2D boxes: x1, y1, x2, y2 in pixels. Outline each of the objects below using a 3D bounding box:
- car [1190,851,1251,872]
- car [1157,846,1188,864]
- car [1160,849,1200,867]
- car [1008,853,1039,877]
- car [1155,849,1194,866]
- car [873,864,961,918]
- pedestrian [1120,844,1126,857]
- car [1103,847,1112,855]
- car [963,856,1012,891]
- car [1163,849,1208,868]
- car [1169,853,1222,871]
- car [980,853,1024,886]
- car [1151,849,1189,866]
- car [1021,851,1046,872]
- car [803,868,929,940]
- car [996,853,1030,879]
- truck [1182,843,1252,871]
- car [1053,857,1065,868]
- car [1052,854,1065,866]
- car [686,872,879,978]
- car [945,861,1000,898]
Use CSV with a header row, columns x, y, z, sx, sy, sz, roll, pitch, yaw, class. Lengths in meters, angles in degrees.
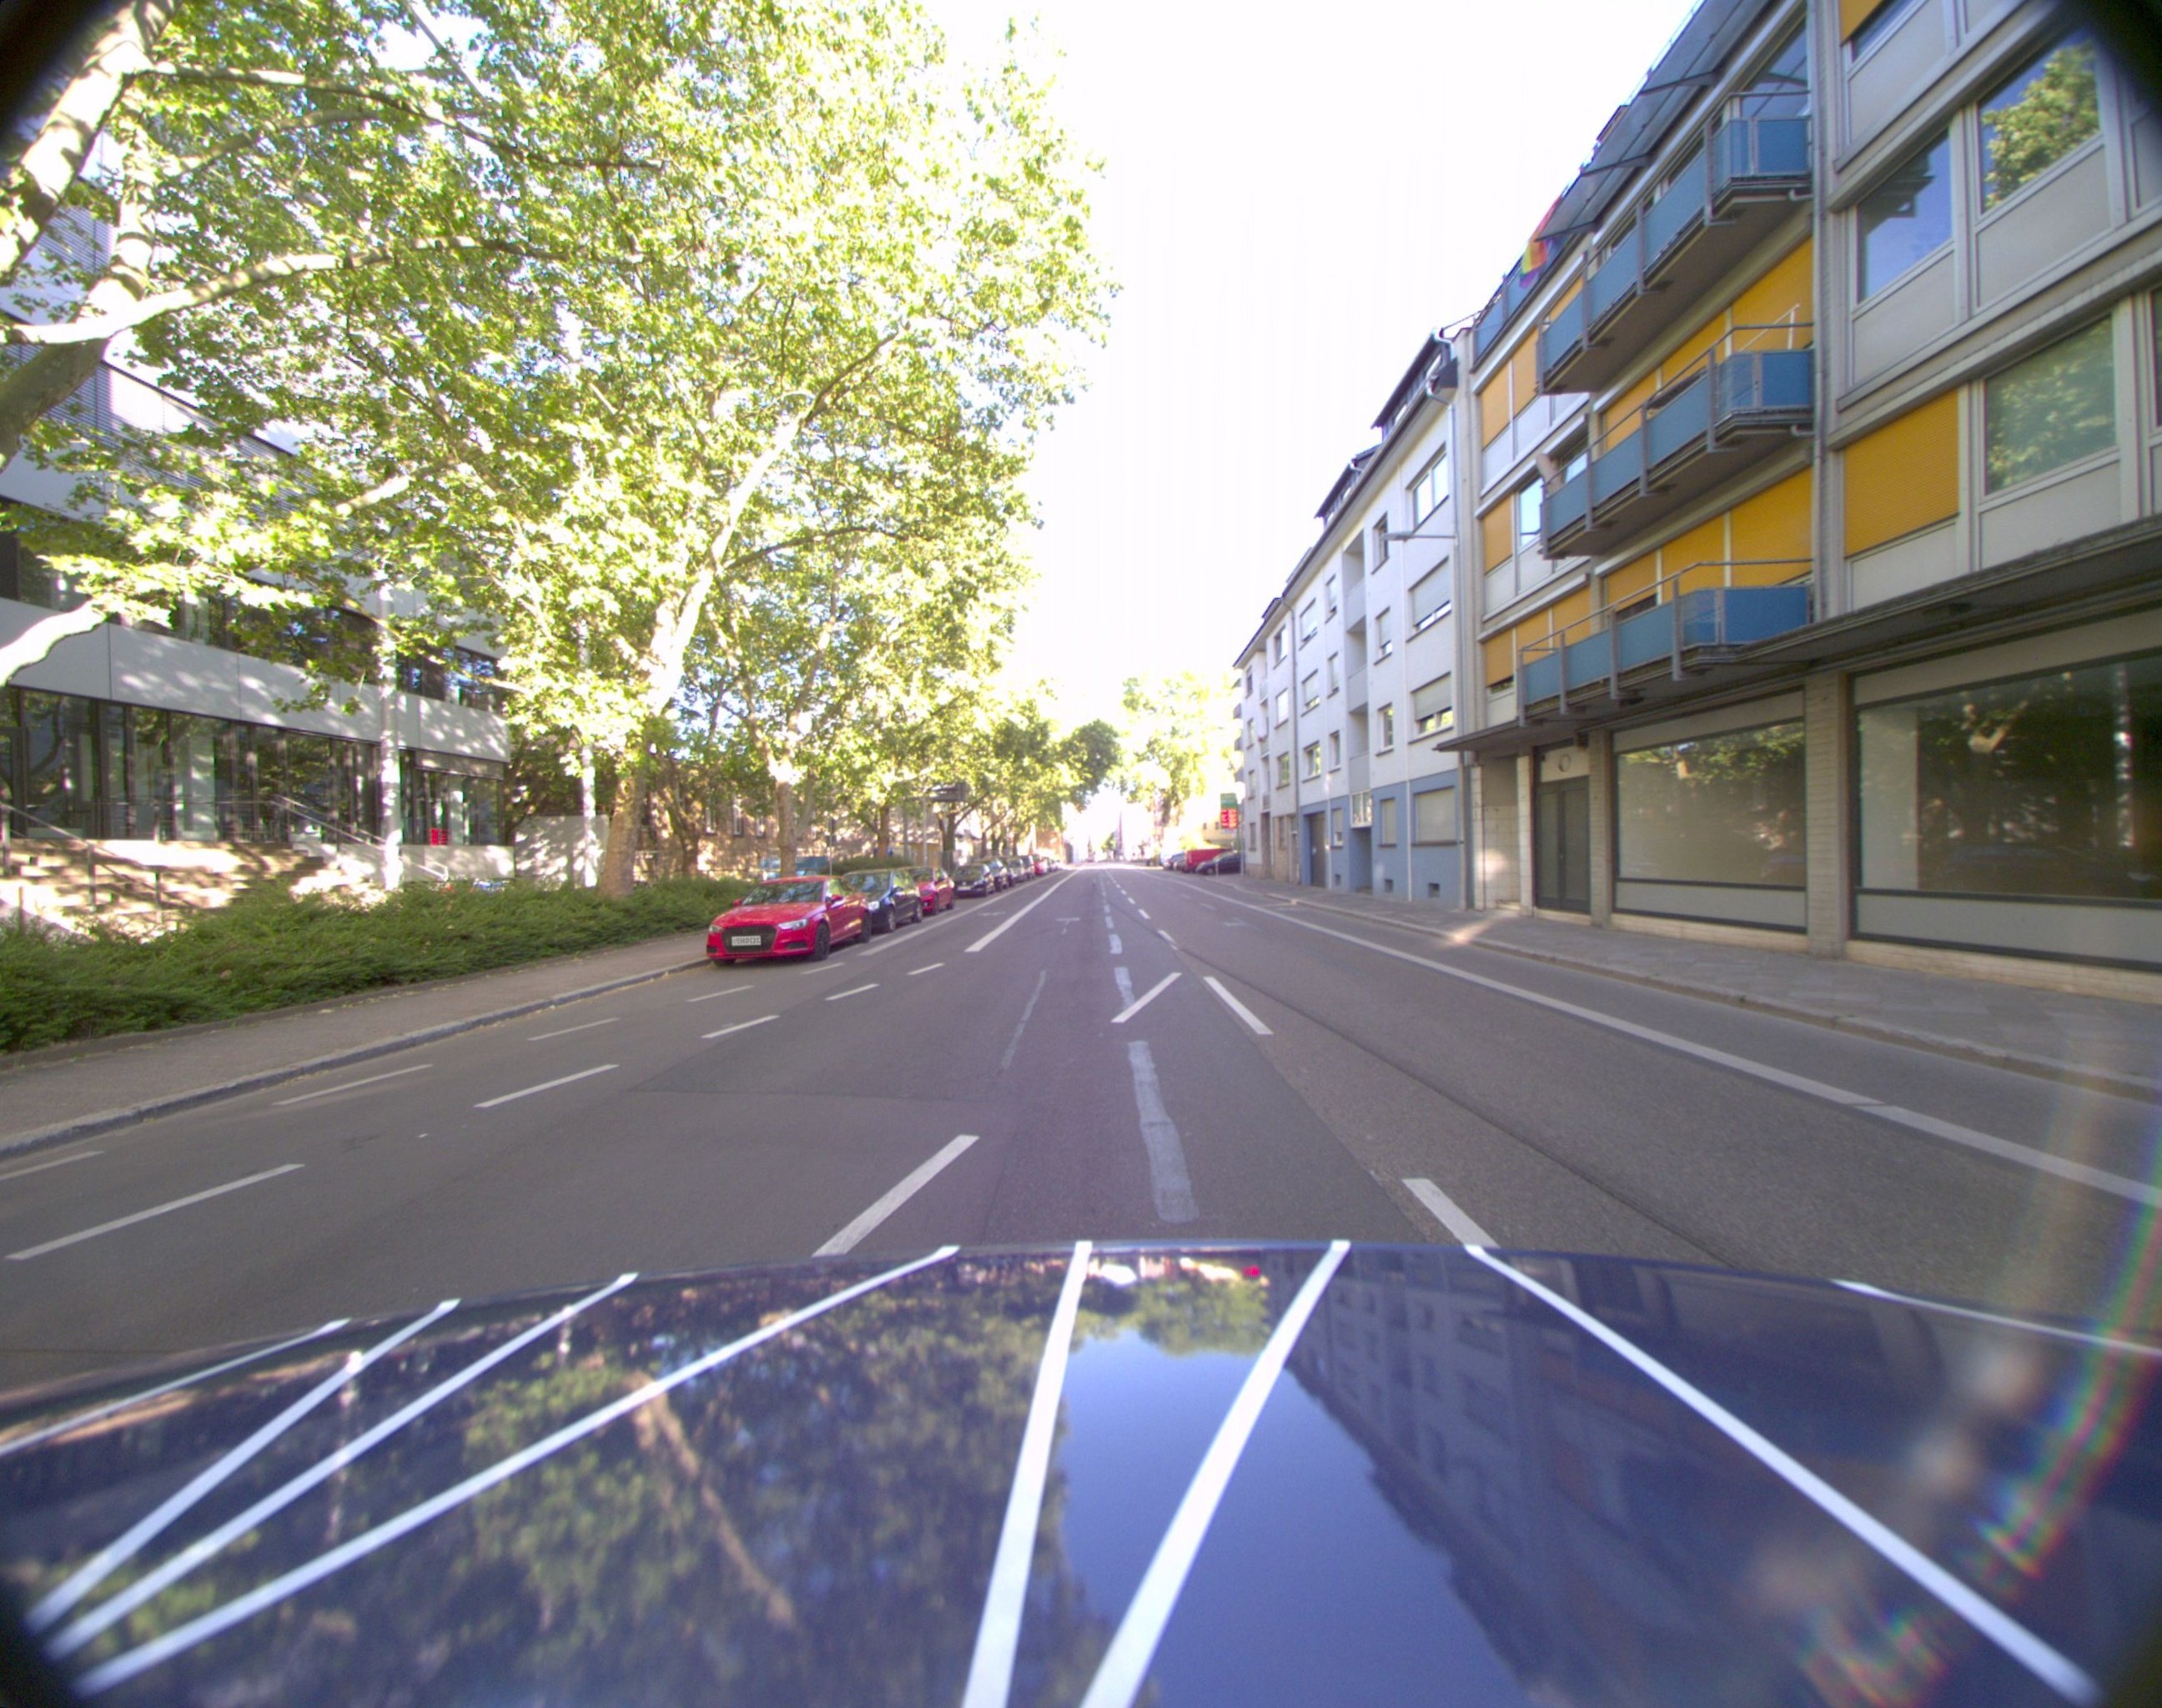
x,y,z,sx,sy,sz,roll,pitch,yaw,class
10.066,0.529,54.918,3.997,1.385,1.781,-2,1,-1,car
10.231,0.108,85.266,3.267,1.927,1.693,-2,1,2,car
9.880,0.382,75.910,3.658,1.578,1.659,-2,1,-5,car
-4.169,0.750,55.510,1.831,1.608,4.177,-1,0,1,car
9.616,0.378,78.568,3.703,1.573,1.718,-2,1,-5,car
-5.019,1.093,23.758,1.790,1.429,4.000,-1,0,1,car
10.794,-0.953,194.857,1.358,3.172,1.897,-2,1,1,pedestrian
6.767,-0.796,193.461,1.998,2.002,3.999,-2,1,1,car
-4.623,0.920,38.209,1.848,1.572,4.232,-2,0,1,car
10.084,0.431,73.363,3.998,1.618,1.702,-2,1,-5,car
9.424,0.671,62.816,4.033,1.265,1.906,-2,1,-1,car
-4.545,0.868,44.192,1.998,1.715,4.262,-2,1,1,car
9.486,0.374,80.860,3.728,1.579,1.743,-2,1,-5,car
-4.107,0.615,66.180,1.876,1.685,4.166,-1,0,1,car
-5.085,1.133,18.551,1.813,1.449,4.000,-1,0,2,car
-4.441,0.739,50.453,1.798,1.608,4.075,-1,0,1,car
10.727,0.239,60.096,5.088,2.009,2.000,-2,1,0,truck
-2.627,1.028,92.349,1.300,1.220,3.241,-1,0,0,car
-3.008,0.817,102.862,1.707,1.459,3.809,-1,0,0,car
-5.104,1.139,13.684,1.775,1.416,4.173,-3,0,0,car
-4.677,1.082,33.263,1.745,1.430,4.000,-1,0,1,car
